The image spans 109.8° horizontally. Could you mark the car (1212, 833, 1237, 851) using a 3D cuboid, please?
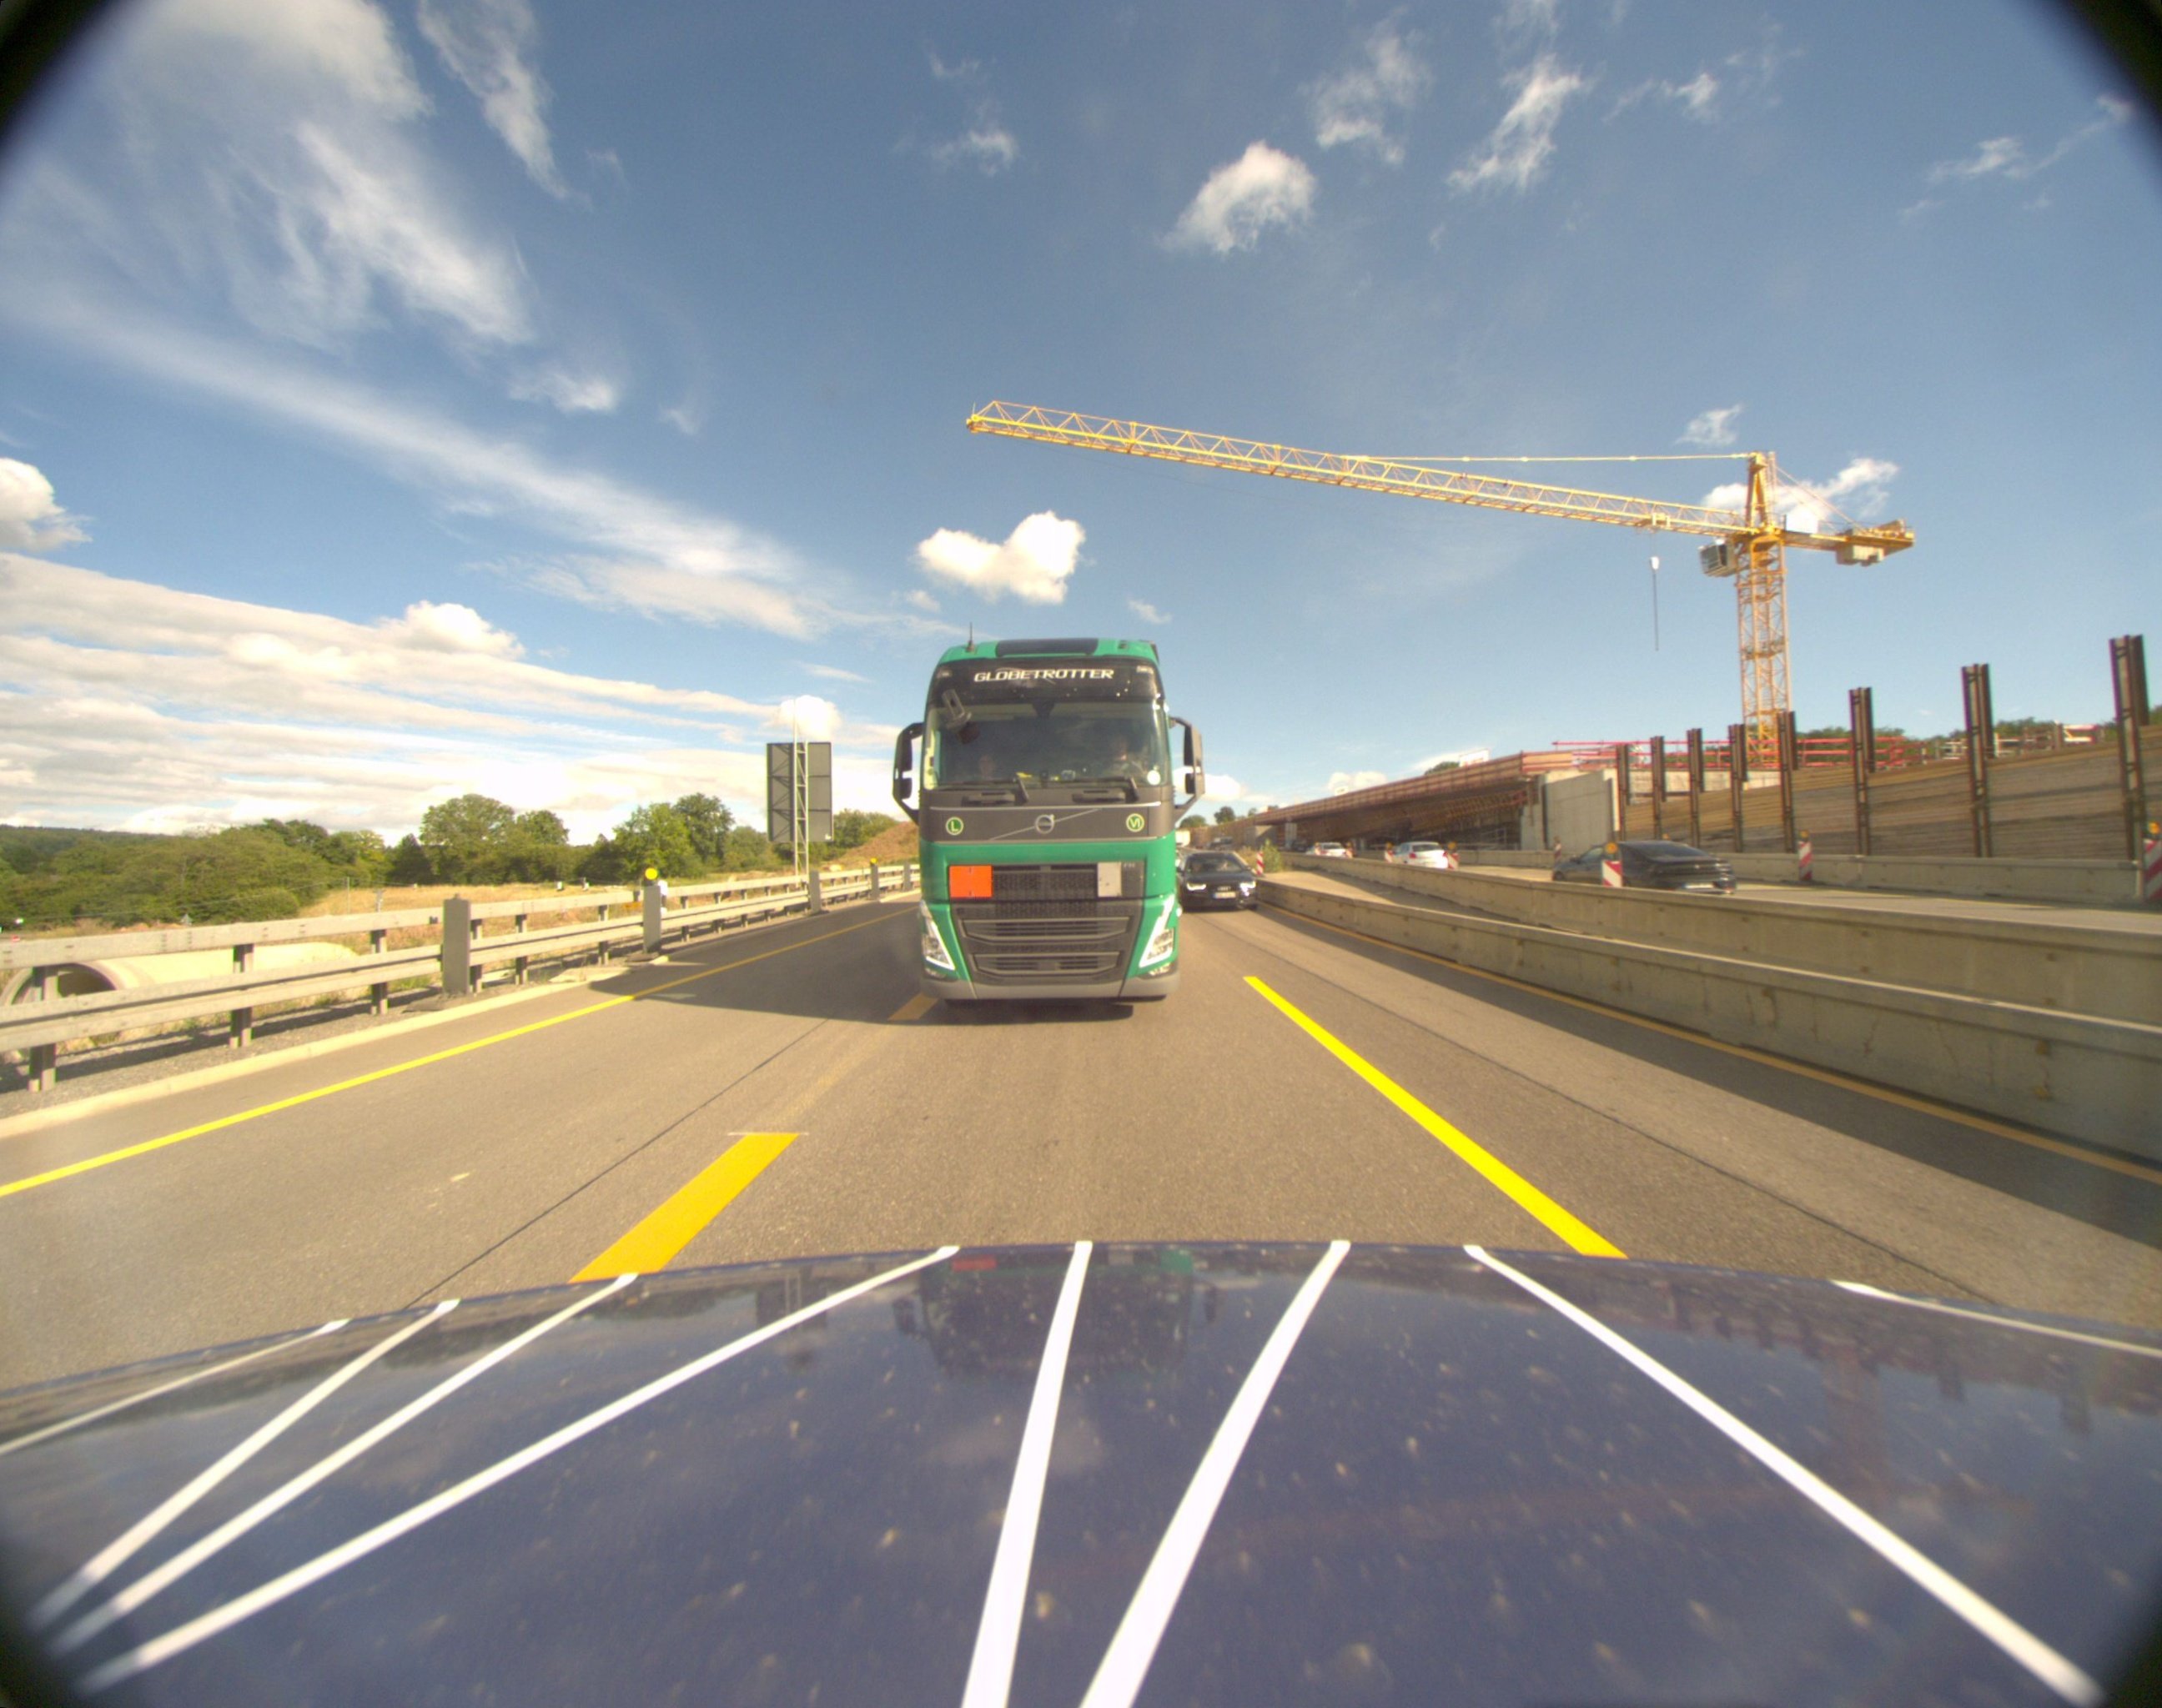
[{"bbox_3d":[19.503,-1.671,103.576,2.264,2.389,5.866,-2,2,1],"label":"car"}]

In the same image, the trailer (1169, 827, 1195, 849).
[{"bbox_3d":[19.234,-3.125,145.690,2.828,3.820,13.798,-2,2,-1],"label":"trailer"}]

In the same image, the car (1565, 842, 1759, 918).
[{"bbox_3d":[12.681,0.478,16.993,1.824,1.431,4.618,-2,0,15],"label":"car"}]

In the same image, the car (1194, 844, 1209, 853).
[{"bbox_3d":[19.653,-0.855,124.012,1.924,1.265,3.999,-2,2,2],"label":"car"}]

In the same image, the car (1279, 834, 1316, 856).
[{"bbox_3d":[19.611,-0.840,68.965,1.999,1.794,4.442,-2,2,-1],"label":"car"}]

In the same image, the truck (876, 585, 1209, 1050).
[{"bbox_3d":[-0.253,-0.425,11.586,2.663,3.826,10.314,-2,2,1],"label":"truck"}]

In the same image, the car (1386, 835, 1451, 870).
[{"bbox_3d":[15.032,-0.069,34.046,1.757,1.431,3.807,-2,0,9],"label":"car"}]

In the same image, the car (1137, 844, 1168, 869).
[{"bbox_3d":[4.989,0.126,53.575,1.806,1.555,4.561,-2,2,1],"label":"car"}]

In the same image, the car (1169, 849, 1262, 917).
[{"bbox_3d":[3.459,0.677,20.350,1.806,1.448,4.660,-2,2,2],"label":"car"}]

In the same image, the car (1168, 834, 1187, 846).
[{"bbox_3d":[15.844,-2.291,125.122,2.131,1.755,5.029,-2,0,-2],"label":"car"}]

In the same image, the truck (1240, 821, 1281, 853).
[{"bbox_3d":[19.859,-1.940,84.558,2.707,3.293,7.535,-2,2,1],"label":"truck"}]

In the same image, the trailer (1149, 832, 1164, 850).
[{"bbox_3d":[19.076,-3.349,192.694,2.694,4.132,13.808,-2,2,1],"label":"trailer"}]

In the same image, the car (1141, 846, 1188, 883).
[{"bbox_3d":[3.966,0.443,36.843,1.806,1.555,4.561,-2,2,1],"label":"car"}]

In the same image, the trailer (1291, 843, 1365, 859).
[{"bbox_3d":[19.790,-0.317,61.647,2.358,0.934,10.324,-2,2,-1],"label":"trailer"}]

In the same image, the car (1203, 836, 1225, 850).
[{"bbox_3d":[16.525,-1.388,94.790,1.857,1.626,4.748,-2,0,0],"label":"car"}]

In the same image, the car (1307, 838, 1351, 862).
[{"bbox_3d":[16.249,-0.276,49.933,1.856,1.431,4.560,-2,0,7],"label":"car"}]
